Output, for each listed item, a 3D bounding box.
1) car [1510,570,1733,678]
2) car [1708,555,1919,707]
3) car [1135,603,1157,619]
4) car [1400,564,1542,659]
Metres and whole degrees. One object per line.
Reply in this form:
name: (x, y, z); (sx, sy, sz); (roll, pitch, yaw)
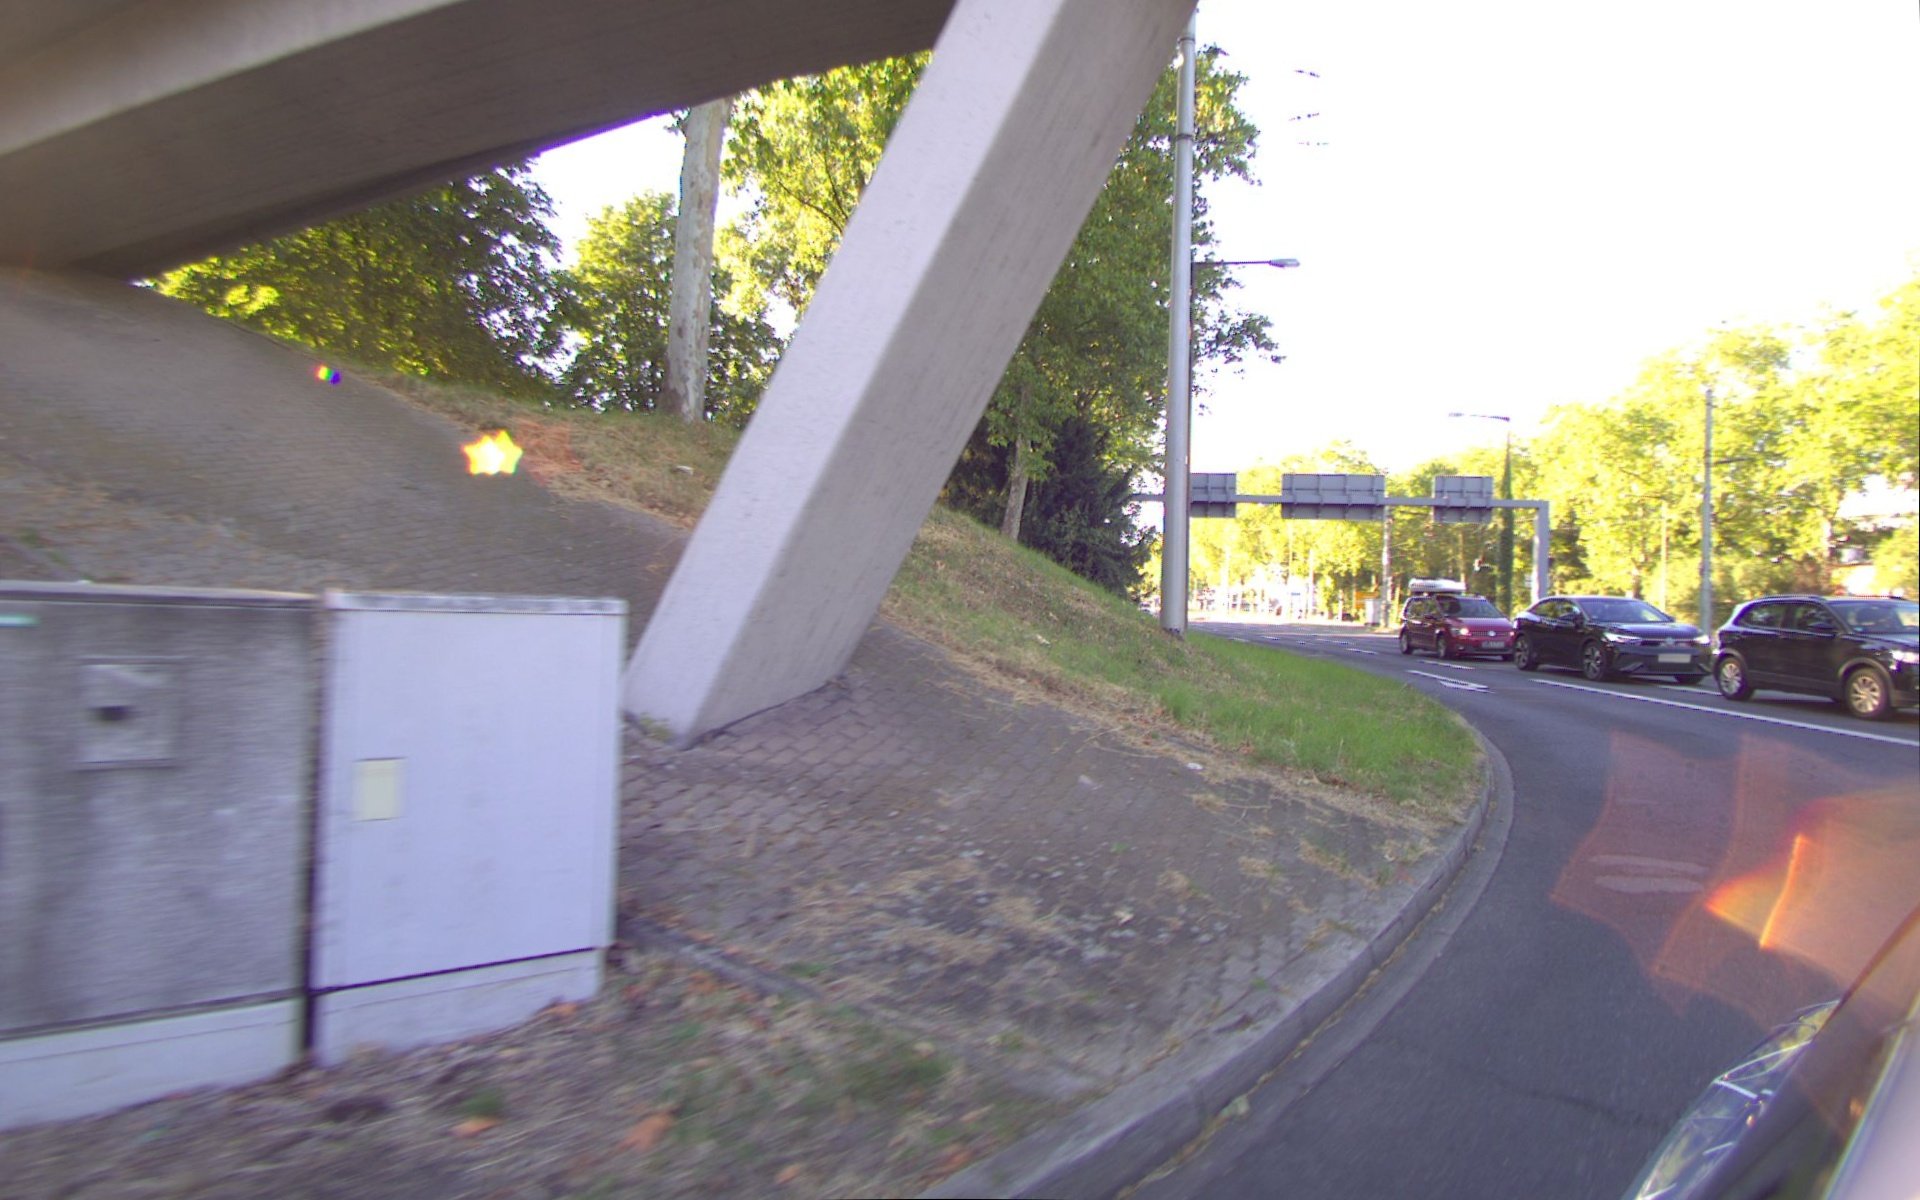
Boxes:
car: (12.619, 0.430, 19.677); (1.767, 1.772, 4.234); (3, 0, 5)
car: (12.259, 0.425, 13.508); (1.767, 1.772, 3.994); (3, 0, 5)
car: (20.669, 1.184, 112.077); (1.852, 1.638, 3.976); (3, 0, 18)
car: (12.902, 0.284, 25.826); (1.766, 2.132, 3.994); (3, 0, 5)
